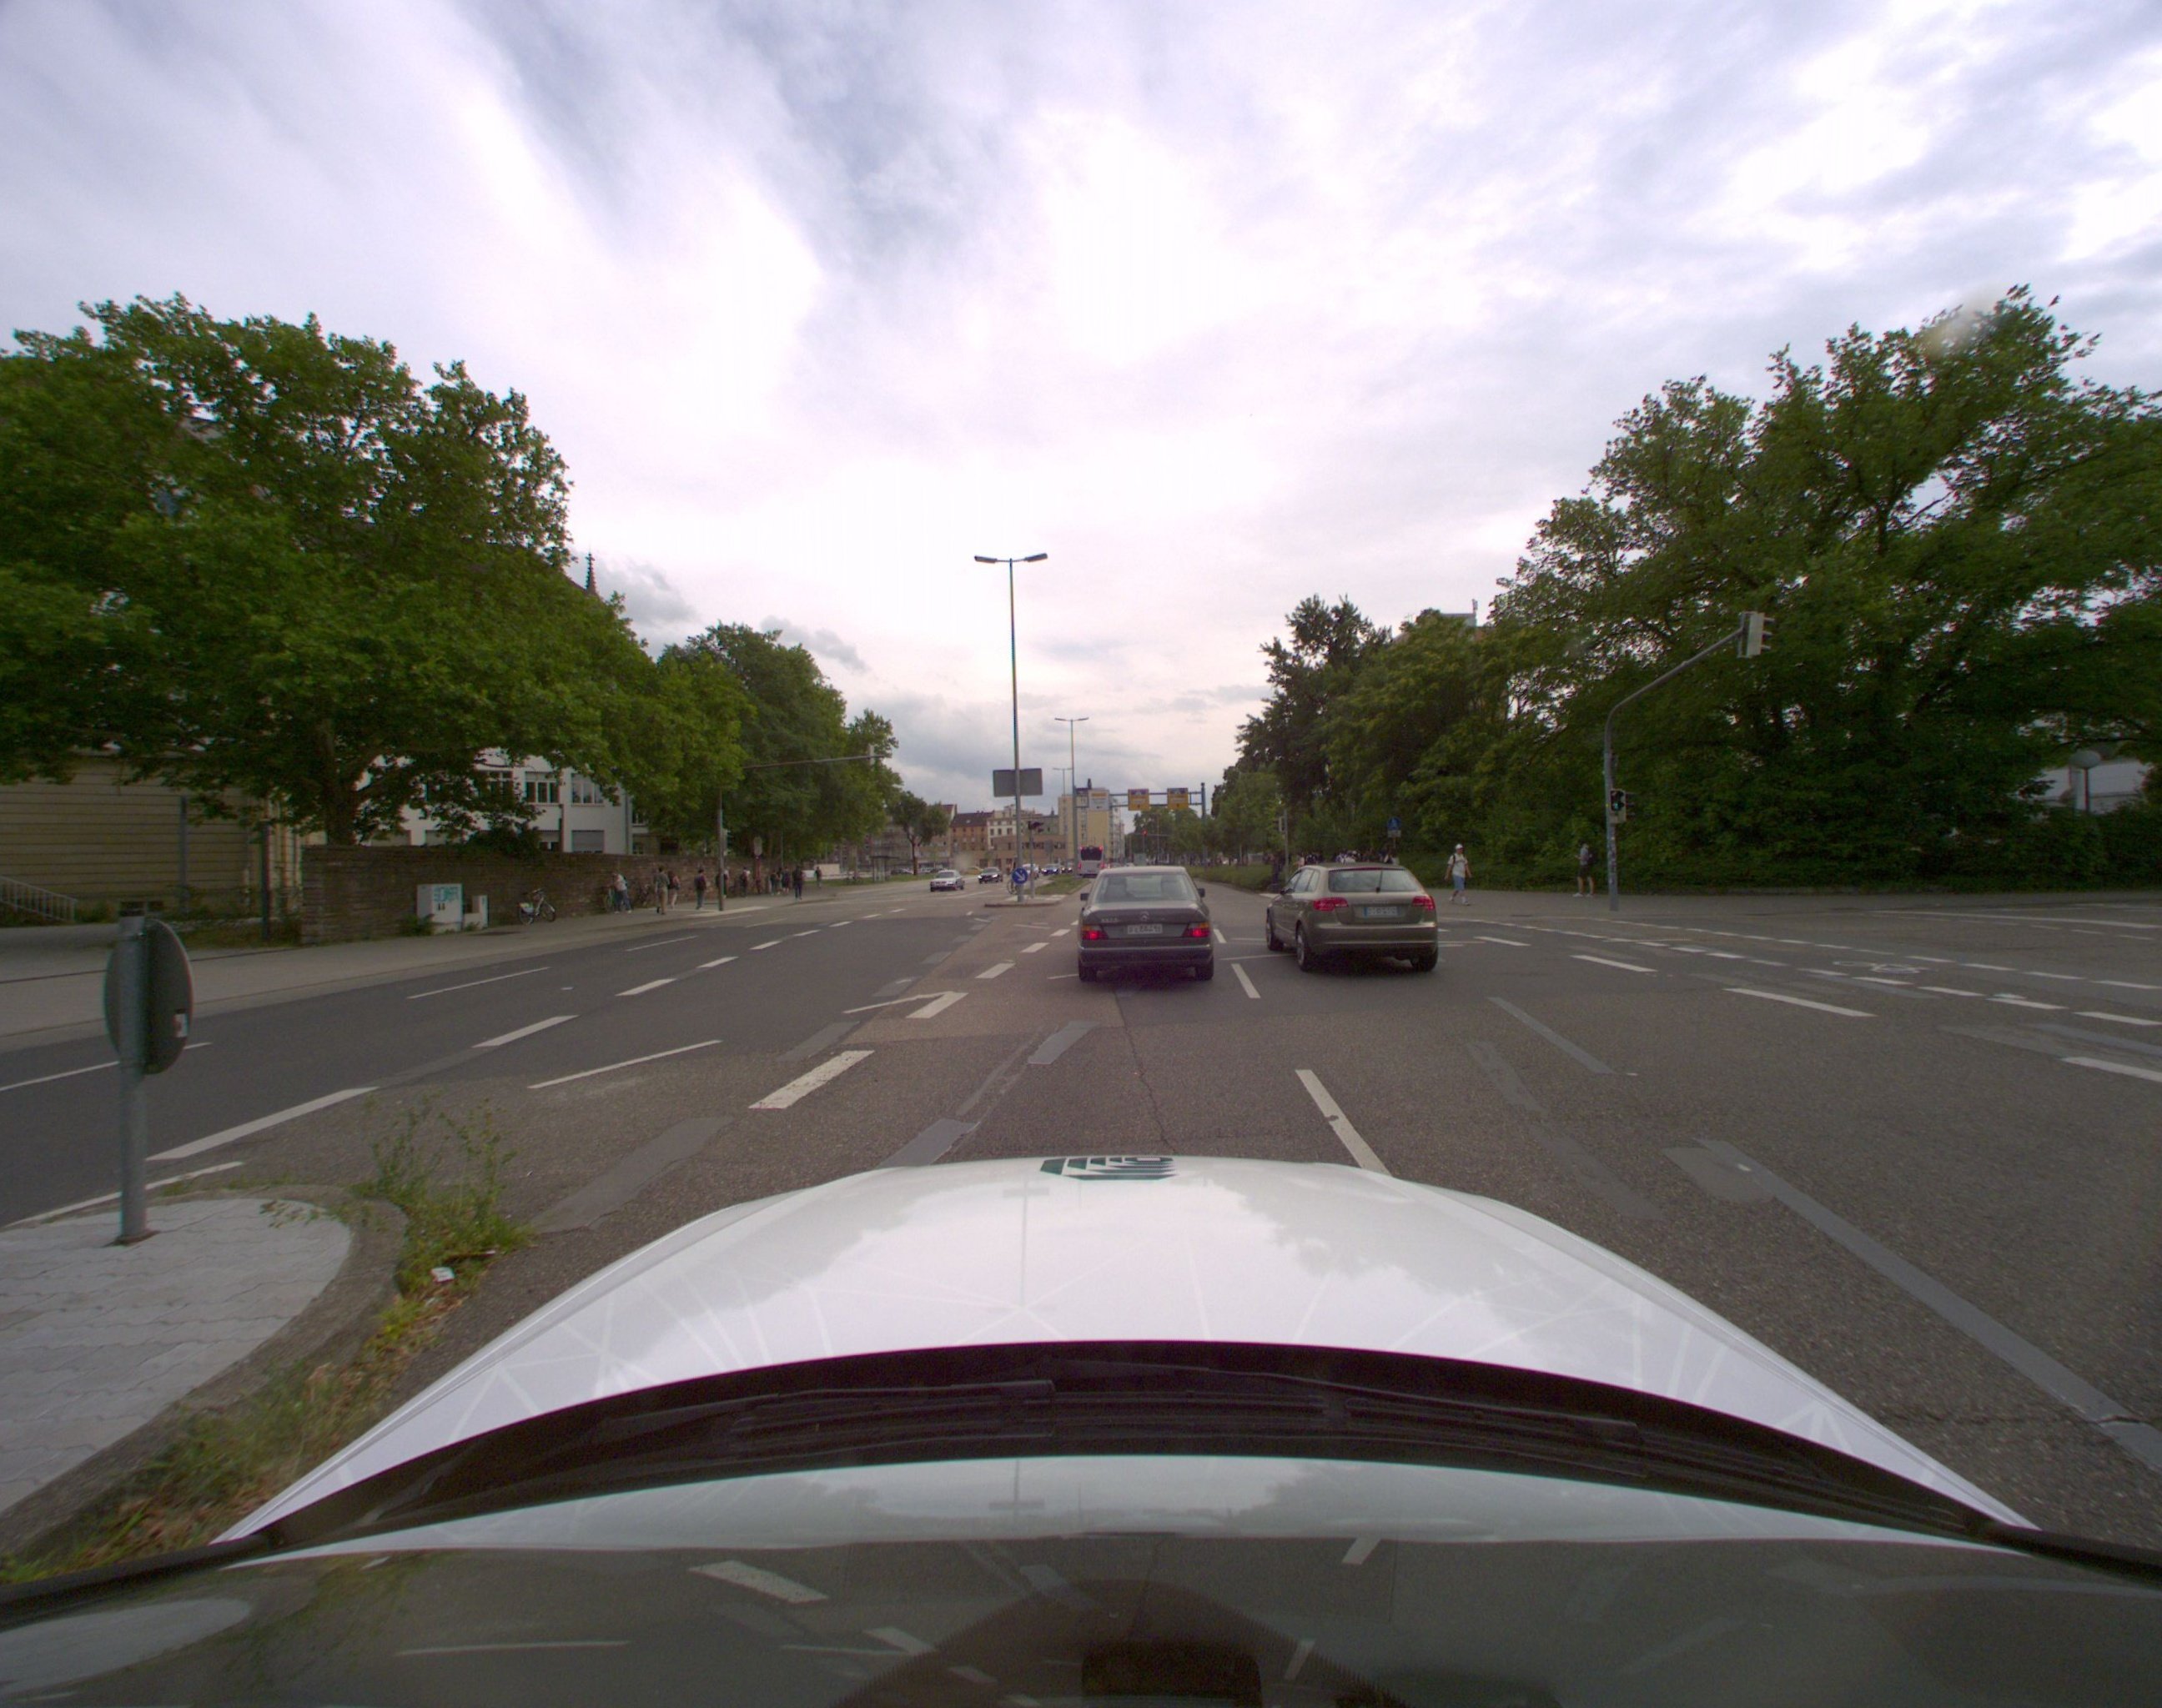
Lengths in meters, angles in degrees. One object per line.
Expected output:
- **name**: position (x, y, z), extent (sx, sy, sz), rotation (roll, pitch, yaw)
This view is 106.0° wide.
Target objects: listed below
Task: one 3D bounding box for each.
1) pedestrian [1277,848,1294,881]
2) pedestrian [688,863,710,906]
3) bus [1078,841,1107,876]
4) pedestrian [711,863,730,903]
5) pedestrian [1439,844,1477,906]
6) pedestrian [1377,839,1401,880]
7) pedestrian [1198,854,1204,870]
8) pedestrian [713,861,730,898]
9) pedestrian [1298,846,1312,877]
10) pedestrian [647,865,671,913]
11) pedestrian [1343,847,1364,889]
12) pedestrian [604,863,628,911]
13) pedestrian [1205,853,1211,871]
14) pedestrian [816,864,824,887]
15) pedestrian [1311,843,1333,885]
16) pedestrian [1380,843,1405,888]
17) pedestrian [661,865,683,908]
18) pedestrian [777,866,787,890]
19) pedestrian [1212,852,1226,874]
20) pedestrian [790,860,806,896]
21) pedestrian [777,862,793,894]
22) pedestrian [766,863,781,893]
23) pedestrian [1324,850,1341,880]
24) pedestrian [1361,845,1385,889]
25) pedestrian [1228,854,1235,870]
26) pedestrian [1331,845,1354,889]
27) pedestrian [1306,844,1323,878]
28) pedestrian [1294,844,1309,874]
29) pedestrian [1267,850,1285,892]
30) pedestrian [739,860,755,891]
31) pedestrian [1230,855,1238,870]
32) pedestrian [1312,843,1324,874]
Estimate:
- **pedestrian**: position (11.449, 0.586, 45.679), extent (0.690, 1.821, 0.955), rotation (-2, -1, 3)
- **pedestrian**: position (-15.881, 1.267, 33.858), extent (0.763, 1.783, 0.777), rotation (0, -2, -27)
- **bus**: position (1.199, 0.466, 86.063), extent (2.821, 3.390, 8.184), rotation (-2, 0, 1)
- **pedestrian**: position (-16.291, 1.319, 36.785), extent (0.763, 1.783, 0.777), rotation (-1, -2, -26)
- **pedestrian**: position (11.341, 0.624, 24.495), extent (0.645, 1.852, 0.826), rotation (0, -1, -12)
- **pedestrian**: position (13.364, 0.228, 35.350), extent (0.654, 1.745, 0.780), rotation (-2, -1, 1)
- **pedestrian**: position (14.945, 1.025, 101.462), extent (0.612, 2.014, 0.597), rotation (-1, -1, 1)
- **pedestrian**: position (-17.953, 1.269, 40.663), extent (0.763, 1.783, 0.907), rotation (-1, -2, -26)
- **pedestrian**: position (12.421, 0.415, 45.255), extent (0.553, 1.655, 0.754), rotation (-2, -1, 3)
- **pedestrian**: position (-15.925, 1.306, 30.726), extent (0.749, 1.783, 0.776), rotation (0, -3, -30)
- **pedestrian**: position (11.614, 0.592, 34.747), extent (0.579, 1.745, 0.790), rotation (-2, -1, 1)
- **pedestrian**: position (-17.754, 1.253, 31.081), extent (0.749, 1.783, 0.776), rotation (0, -3, -32)
- **pedestrian**: position (15.002, 0.949, 95.958), extent (0.612, 2.014, 0.597), rotation (-1, -1, 1)
- **pedestrian**: position (-19.557, 1.622, 61.028), extent (0.561, 1.668, 0.624), rotation (-1, -2, -14)
- **pedestrian**: position (10.239, 0.423, 34.617), extent (0.654, 1.745, 0.780), rotation (-2, -1, 1)
- **pedestrian**: position (12.527, 0.466, 32.773), extent (0.654, 1.745, 0.780), rotation (-2, -1, 1)
- **pedestrian**: position (-17.308, 1.372, 34.448), extent (0.763, 1.783, 0.776), rotation (0, -2, -29)
- **pedestrian**: position (-20.452, 1.635, 55.709), extent (0.588, 1.592, 0.730), rotation (-1, -2, -20)
- **pedestrian**: position (12.167, 0.786, 71.779), extent (0.925, 1.830, 0.892), rotation (-2, -1, 30)
- **pedestrian**: position (-14.611, 1.242, 42.015), extent (0.761, 1.783, 0.717), rotation (-1, -2, -21)
- **pedestrian**: position (-17.242, 1.399, 47.374), extent (0.763, 1.783, 0.916), rotation (-1, -2, -26)
- **pedestrian**: position (-18.644, 1.484, 49.369), extent (0.763, 1.783, 0.777), rotation (-1, -2, -26)
- **pedestrian**: position (13.712, 0.602, 44.440), extent (0.633, 1.584, 0.786), rotation (-2, -1, 3)
- **pedestrian**: position (11.759, 0.515, 32.791), extent (0.654, 1.745, 0.780), rotation (-2, -1, 1)
- **pedestrian**: position (16.381, 0.827, 88.748), extent (0.641, 1.713, 0.564), rotation (-2, -1, 17)
- **pedestrian**: position (10.614, 0.541, 33.030), extent (0.622, 1.745, 0.780), rotation (-2, -1, 1)
- **pedestrian**: position (12.510, 0.374, 43.687), extent (0.653, 1.821, 0.813), rotation (-2, -1, 3)
- **pedestrian**: position (12.782, 0.297, 47.218), extent (0.616, 1.735, 0.815), rotation (-2, -1, 3)
- **pedestrian**: position (8.267, 0.714, 34.541), extent (0.599, 1.735, 0.654), rotation (-2, -1, 0)
- **pedestrian**: position (-18.497, 1.169, 45.103), extent (0.763, 1.671, 0.916), rotation (-1, 0, -26)
- **pedestrian**: position (15.902, 0.883, 84.662), extent (0.651, 1.470, 0.564), rotation (-2, -1, 19)
- **pedestrian**: position (13.536, 0.255, 46.488), extent (0.482, 1.763, 0.664), rotation (-2, -1, 3)
